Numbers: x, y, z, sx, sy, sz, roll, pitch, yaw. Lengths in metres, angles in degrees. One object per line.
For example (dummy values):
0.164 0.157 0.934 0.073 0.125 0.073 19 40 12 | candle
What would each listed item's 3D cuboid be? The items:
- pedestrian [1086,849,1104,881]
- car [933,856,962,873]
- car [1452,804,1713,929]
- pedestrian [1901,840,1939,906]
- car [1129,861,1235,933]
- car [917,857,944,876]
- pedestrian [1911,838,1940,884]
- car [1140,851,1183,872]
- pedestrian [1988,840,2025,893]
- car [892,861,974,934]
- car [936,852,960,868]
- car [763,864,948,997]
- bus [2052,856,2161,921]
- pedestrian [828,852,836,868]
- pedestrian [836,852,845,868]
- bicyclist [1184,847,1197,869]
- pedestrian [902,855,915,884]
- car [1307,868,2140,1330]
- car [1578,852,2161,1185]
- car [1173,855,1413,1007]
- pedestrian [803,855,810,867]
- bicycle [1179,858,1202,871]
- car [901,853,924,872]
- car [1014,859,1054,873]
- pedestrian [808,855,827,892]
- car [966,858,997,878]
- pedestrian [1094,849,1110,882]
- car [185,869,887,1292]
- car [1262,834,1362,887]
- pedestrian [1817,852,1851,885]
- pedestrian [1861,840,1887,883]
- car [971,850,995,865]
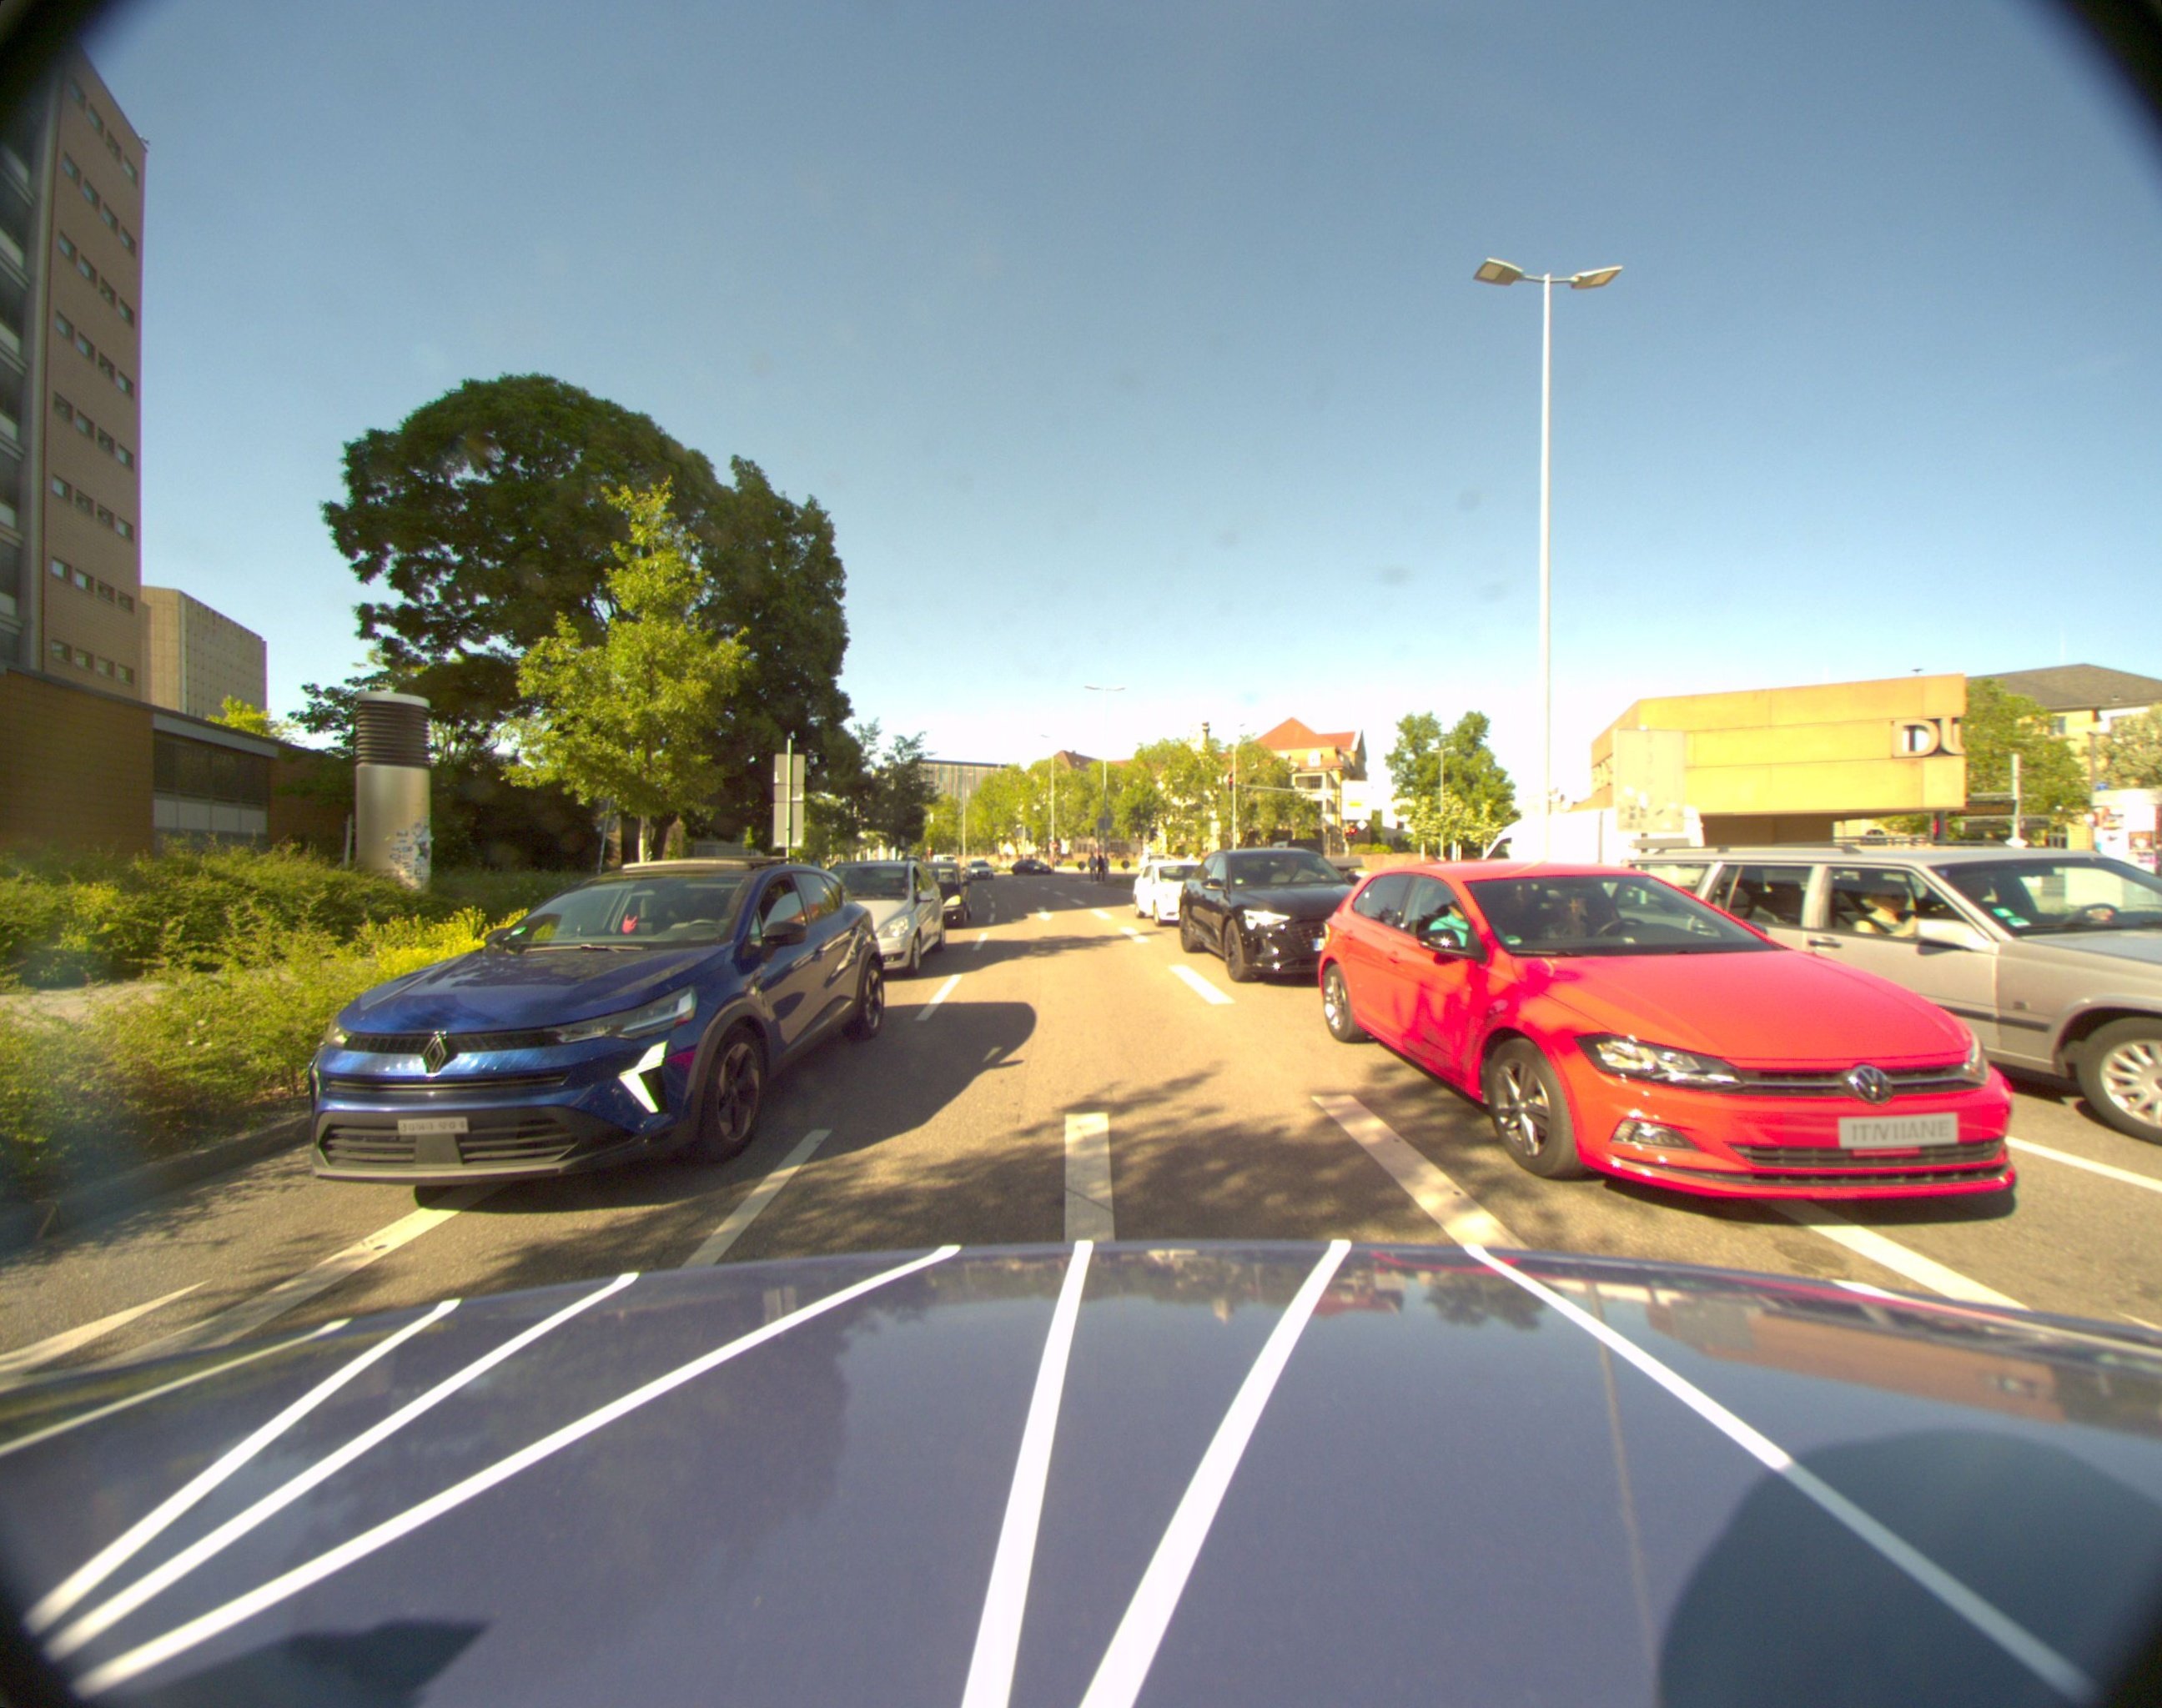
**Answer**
0.804 0.624 44.510 0.887 1.814 0.776 -2 1 -7 | pedestrian
-12.915 1.000 73.361 1.884 1.472 3.992 -2 0 -24 | car
11.439 0.252 17.975 2.000 2.493 5.414 0 0 -9 | car
23.202 0.524 21.014 0.647 1.778 0.666 -3 1 -40 | pedestrian
2.236 0.918 17.789 1.575 1.410 3.711 -3 0 -6 | car
-12.482 1.035 62.836 1.754 1.467 3.568 -2 1 -18 | car
33.125 0.271 29.802 0.645 1.766 0.468 -1 1 -4 | pedestrian
6.512 0.627 61.311 3.376 1.669 1.526 0 0 9 | car
31.250 0.409 25.659 0.644 1.766 0.469 0 1 21 | pedestrian
-3.566 0.987 18.800 1.651 1.601 3.488 0 0 -6 | car
-16.602 0.749 94.900 1.790 2.002 4.223 -2 1 -26 | car
-3.172 0.977 11.519 1.786 1.615 4.042 0 0 -3 | car
21.661 0.670 14.153 1.646 1.234 4.181 0 0 -5 | bus
-30.596 0.766 93.396 0.823 1.906 0.770 -2 1 -24 | pedestrian
-29.603 0.730 93.553 0.823 1.906 0.770 -2 1 -24 | pedestrian
8.111 0.295 56.425 0.815 1.549 0.695 -2 1 2 | bicyclist
-9.525 0.867 41.993 0.662 1.594 0.692 0 0 -11 | pedestrian
2.796 0.878 4.543 1.674 1.464 3.853 -2 0 -1 | car
5.769 0.777 4.968 1.713 1.464 4.752 -4 -1 -2 | car
2.564 0.832 10.421 1.859 1.606 4.452 0 0 -3 | car
-43.808 1.127 121.331 0.823 1.906 0.770 -2 1 -26 | pedestrian
8.129 0.775 56.422 1.653 0.884 0.590 -2 1 2 | bicycle
-16.770 0.847 75.577 1.830 1.842 3.746 0 0 -19 | car
-4.161 1.027 66.499 1.588 1.197 3.989 0 0 -36 | car
-11.477 0.844 33.084 0.693 1.594 0.661 0 0 -14 | pedestrian
-7.497 1.026 57.073 1.754 1.370 3.569 -1 0 -16 | car
1.202 0.639 43.282 0.756 1.814 0.776 -2 1 -6 | pedestrian
-2.689 0.944 5.072 1.705 1.596 4.084 -1 0 0 | car
11.092 0.292 37.068 2.117 2.300 6.209 -1 0 -10 | car
30.147 0.556 30.412 0.645 1.303 0.763 -1 0 10 | pedestrian
33.242 0.319 31.858 0.645 1.766 0.468 -1 1 -4 | pedestrian
-10.354 0.378 80.338 1.598 1.596 3.065 0 0 -26 | car
